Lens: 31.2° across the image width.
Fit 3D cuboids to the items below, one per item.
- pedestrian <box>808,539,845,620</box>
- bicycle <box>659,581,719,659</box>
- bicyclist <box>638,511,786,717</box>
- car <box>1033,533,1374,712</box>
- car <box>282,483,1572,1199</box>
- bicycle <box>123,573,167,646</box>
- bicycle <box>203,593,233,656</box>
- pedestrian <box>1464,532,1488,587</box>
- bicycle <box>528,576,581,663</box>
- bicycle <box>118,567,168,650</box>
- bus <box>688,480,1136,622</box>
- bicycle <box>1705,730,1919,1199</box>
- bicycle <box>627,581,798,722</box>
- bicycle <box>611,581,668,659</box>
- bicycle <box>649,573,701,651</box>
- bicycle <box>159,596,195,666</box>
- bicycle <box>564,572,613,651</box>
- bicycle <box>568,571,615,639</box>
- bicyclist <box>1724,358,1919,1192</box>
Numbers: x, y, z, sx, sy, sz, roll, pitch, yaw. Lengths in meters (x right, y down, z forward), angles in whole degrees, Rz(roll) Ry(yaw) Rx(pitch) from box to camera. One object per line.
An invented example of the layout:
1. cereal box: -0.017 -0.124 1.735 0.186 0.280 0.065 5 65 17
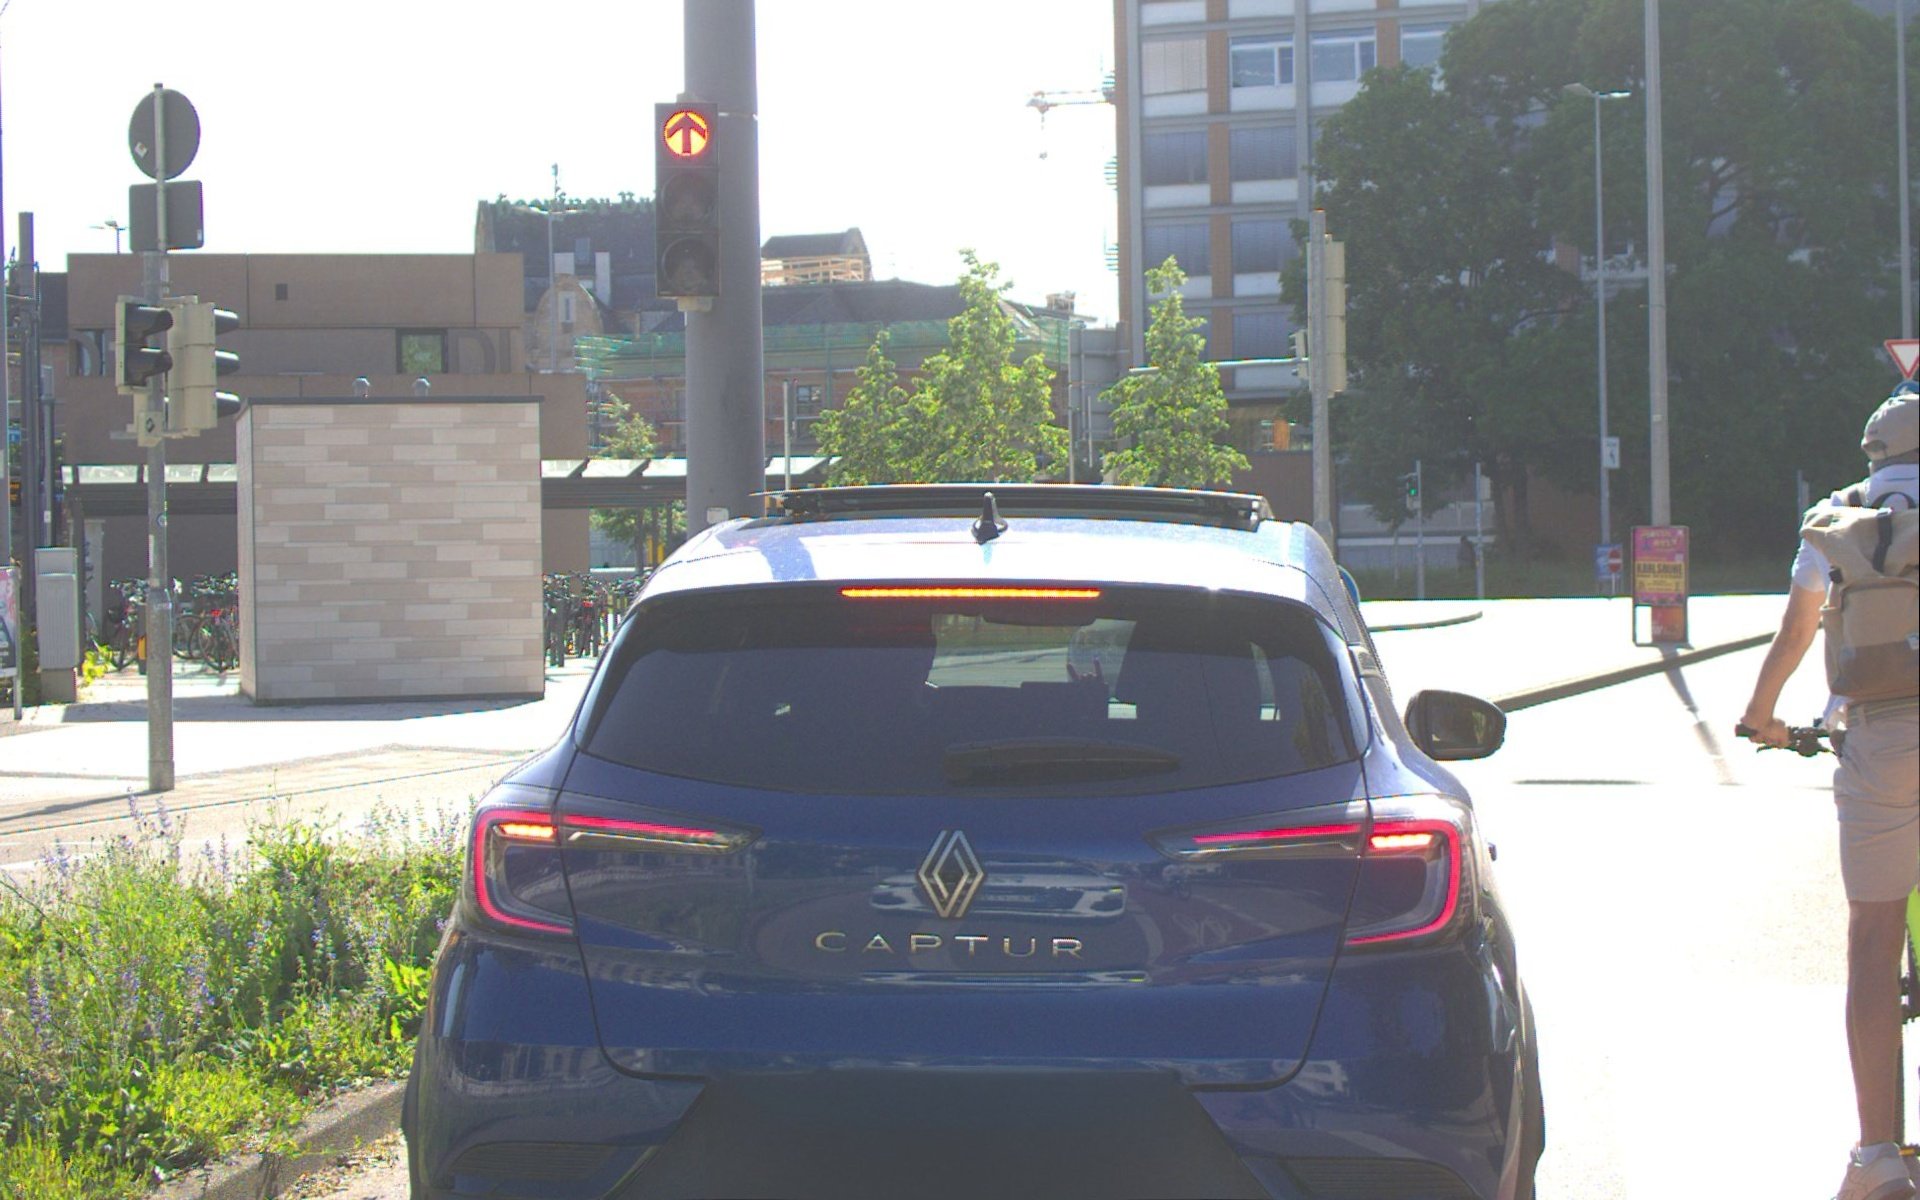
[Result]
1. pedestrian: -3.056 -0.458 78.923 0.726 1.850 0.702 0 0 8
2. bicycle: -3.410 0.254 43.125 0.580 0.958 2.059 0 0 -9
3. bicyclist: -2.012 0.110 28.060 0.880 1.639 1.060 -1 0 14
4. car: 2.212 0.155 30.150 1.802 1.388 4.088 -1 2 22
5. car: 0.100 0.610 6.687 1.823 1.594 3.658 1 1 5
6. bicycle: -12.379 0.145 52.220 0.565 1.090 2.030 0 0 -11
7. bicycle: -11.356 0.372 52.655 0.421 0.934 1.379 1 0 -11
8. pedestrian: 15.677 -1.219 104.450 0.561 1.664 0.475 0 -1 37
9. bicycle: -5.039 0.246 42.662 0.580 1.054 1.817 0 0 -9
10. bicycle: -10.905 0.117 45.910 0.565 1.090 2.030 0 0 -11
11. bus: -1.393 -1.158 86.849 12.434 3.384 2.876 0 0 40
12. bicycle: 2.120 0.868 7.776 0.663 1.043 1.890 0 1 6
13. bicycle: -1.997 0.403 28.022 0.773 1.077 2.034 -1 0 14
14. bicycle: -4.023 0.252 43.037 0.580 0.958 2.059 0 0 -9
15. bicycle: -4.053 0.169 48.768 0.580 1.084 2.059 0 0 -9
16. bicycle: -10.857 0.423 47.633 0.421 0.934 1.306 1 0 -15
17. bicycle: -5.263 0.164 48.696 0.580 1.084 2.059 0 0 -9
18. bicycle: -6.027 0.081 56.170 0.580 1.084 1.872 0 0 -11
19. bicyclist: 2.100 0.357 7.665 0.664 1.741 1.005 0 1 7
